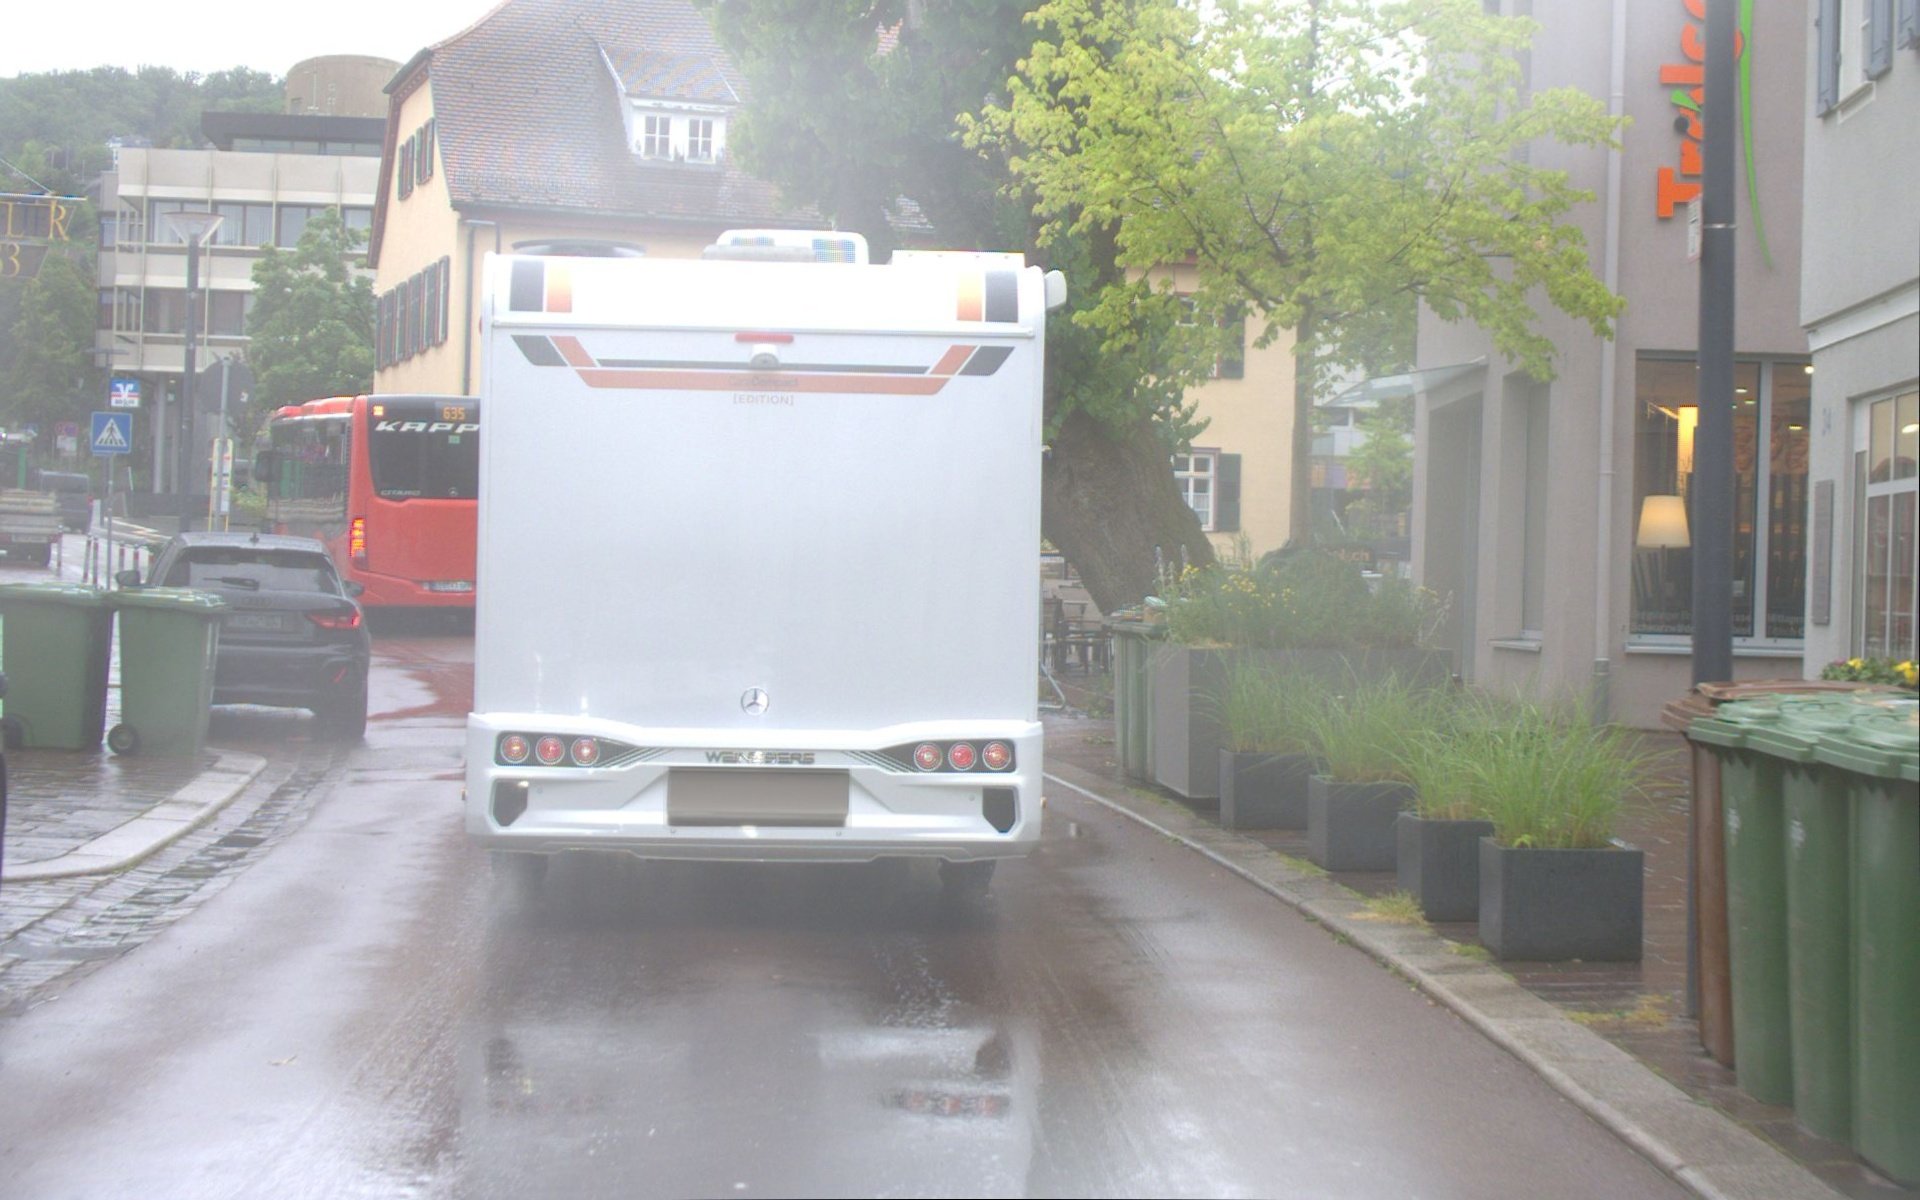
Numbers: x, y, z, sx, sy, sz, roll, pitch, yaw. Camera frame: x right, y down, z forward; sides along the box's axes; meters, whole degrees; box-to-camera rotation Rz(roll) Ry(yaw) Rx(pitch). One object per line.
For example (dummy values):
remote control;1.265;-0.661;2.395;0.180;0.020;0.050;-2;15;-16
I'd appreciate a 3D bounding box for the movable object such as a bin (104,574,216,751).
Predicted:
movable object such as a bin;-5.137;0.398;22.105;0.630;1.109;0.734;1;0;-9

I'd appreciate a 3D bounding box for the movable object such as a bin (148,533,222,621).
movable object such as a bin;-9.427;-0.275;41.801;0.818;1.047;0.700;1;0;-16

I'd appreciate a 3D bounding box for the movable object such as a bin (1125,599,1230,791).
movable object such as a bin;1.325;0.575;21.042;0.543;1.152;0.577;1;0;-4

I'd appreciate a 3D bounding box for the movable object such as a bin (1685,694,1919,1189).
movable object such as a bin;2.337;0.886;9.101;0.678;1.246;0.565;1;0;-1

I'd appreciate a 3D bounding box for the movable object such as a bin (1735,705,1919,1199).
movable object such as a bin;2.341;0.890;8.525;0.678;1.228;0.565;1;0;-1

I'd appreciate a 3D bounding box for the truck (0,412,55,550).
truck;-20.599;-2.479;72.702;2.279;2.748;5.570;1;0;-20

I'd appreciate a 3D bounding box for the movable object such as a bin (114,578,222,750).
movable object such as a bin;-5.261;0.419;22.876;0.630;1.119;0.734;1;0;-9

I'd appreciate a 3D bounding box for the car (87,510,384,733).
car;-5.673;0.113;26.576;1.993;1.489;4.002;3;1;-15

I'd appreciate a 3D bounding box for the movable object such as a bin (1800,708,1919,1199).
movable object such as a bin;2.367;0.890;7.961;0.678;1.252;0.543;1;0;-1

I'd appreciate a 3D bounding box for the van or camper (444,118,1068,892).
van or camper;-0.976;-0.357;16.364;2.325;2.909;6.394;1;0;-4

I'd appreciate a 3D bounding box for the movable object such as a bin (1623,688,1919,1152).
movable object such as a bin;2.311;0.883;9.755;0.678;1.236;0.731;1;0;-1

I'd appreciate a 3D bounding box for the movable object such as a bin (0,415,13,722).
movable object such as a bin;-6.616;-0.205;22.613;0.630;2.007;0.747;1;0;-9

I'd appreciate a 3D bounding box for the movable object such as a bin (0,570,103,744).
movable object such as a bin;-5.907;0.361;22.225;0.630;1.048;0.734;1;4;-9

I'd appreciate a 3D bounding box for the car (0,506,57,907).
car;-4.373;0.374;11.522;1.993;1.467;4.001;2;1;-6

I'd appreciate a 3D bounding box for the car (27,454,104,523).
car;-28.022;-3.472;107.671;1.993;2.007;4.001;1;0;-19

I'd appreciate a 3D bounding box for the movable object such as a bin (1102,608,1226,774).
movable object such as a bin;1.353;0.601;22.879;0.728;1.076;0.577;1;0;-4

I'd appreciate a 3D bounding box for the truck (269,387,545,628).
truck;-7.459;-1.161;45.726;2.461;2.929;6.200;1;0;-20

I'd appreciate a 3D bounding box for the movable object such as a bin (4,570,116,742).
movable object such as a bin;-6.018;0.371;23.011;0.630;1.119;0.734;1;0;-9

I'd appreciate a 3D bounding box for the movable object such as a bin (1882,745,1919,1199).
movable object such as a bin;2.401;0.952;7.406;0.658;1.241;0.543;1;0;-1

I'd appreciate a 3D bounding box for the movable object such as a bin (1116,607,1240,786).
movable object such as a bin;1.367;0.599;21.635;0.692;1.098;0.562;1;0;-4
